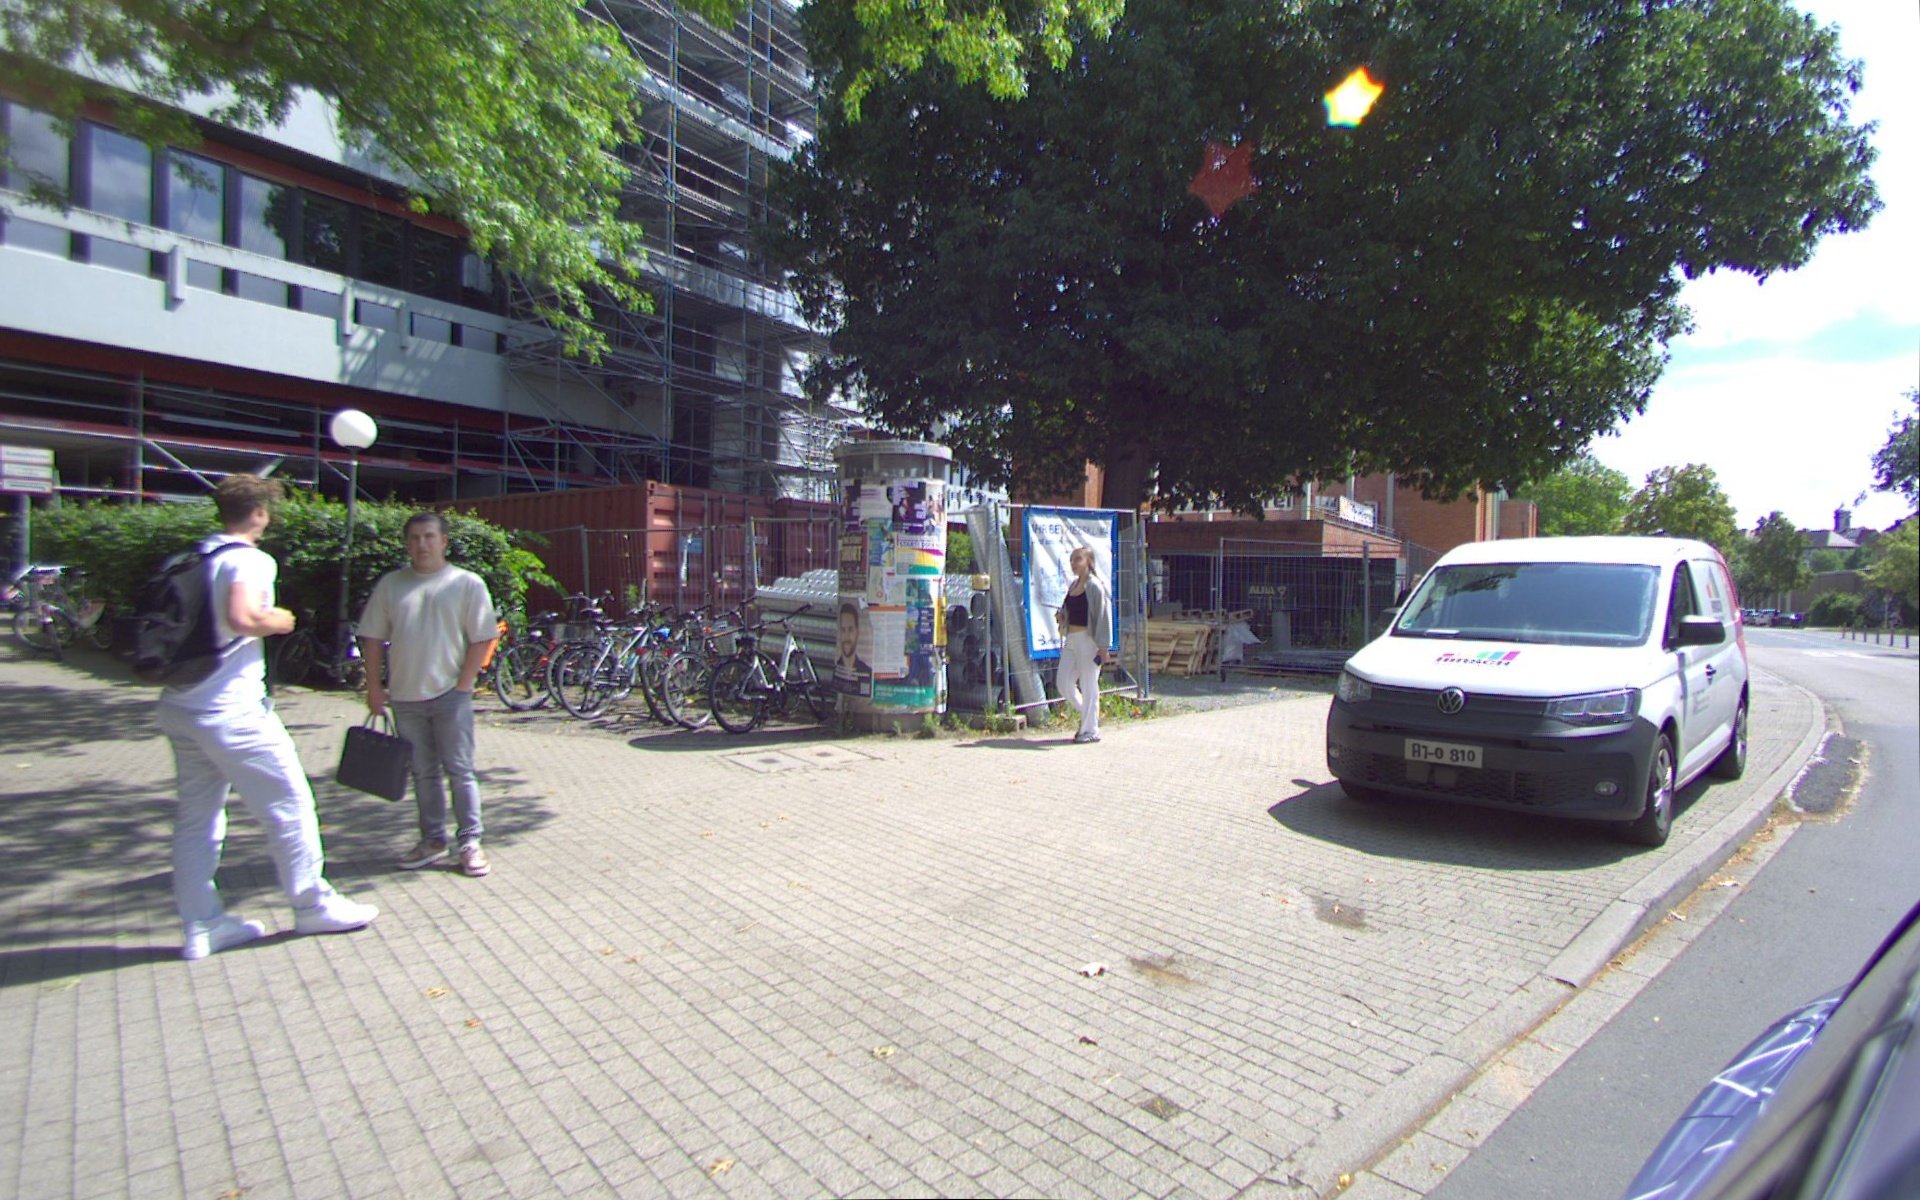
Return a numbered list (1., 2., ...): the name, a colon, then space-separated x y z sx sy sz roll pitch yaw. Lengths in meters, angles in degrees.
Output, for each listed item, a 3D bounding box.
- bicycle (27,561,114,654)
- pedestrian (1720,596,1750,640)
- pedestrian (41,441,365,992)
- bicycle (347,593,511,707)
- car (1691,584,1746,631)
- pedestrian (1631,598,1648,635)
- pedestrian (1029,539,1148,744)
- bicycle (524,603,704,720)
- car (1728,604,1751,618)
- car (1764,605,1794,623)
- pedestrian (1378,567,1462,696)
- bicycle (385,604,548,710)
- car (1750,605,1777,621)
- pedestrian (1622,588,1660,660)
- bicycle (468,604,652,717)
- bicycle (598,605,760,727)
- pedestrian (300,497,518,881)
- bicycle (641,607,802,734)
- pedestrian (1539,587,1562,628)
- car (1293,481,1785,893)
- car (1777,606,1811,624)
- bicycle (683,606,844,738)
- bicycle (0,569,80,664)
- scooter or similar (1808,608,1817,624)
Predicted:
1. bicycle: -11.914 0.069 13.533 1.861 1.132 0.493 3 2 37
2. pedestrian: 33.411 0.753 43.624 0.818 1.840 1.133 1 0 29
3. pedestrian: -2.731 0.389 3.718 0.710 1.844 0.630 1 0 -1
4. bicycle: -5.749 0.493 11.080 0.493 1.091 1.800 2 2 15
5. car: 44.766 0.413 59.845 2.050 2.575 5.782 2 1 32
6. pedestrian: 32.434 0.764 48.316 0.639 1.718 0.783 1 0 34
7. pedestrian: 1.083 0.330 8.628 0.697 1.652 0.716 1 0 -28
8. bicycle: -3.446 0.570 10.231 0.510 1.029 1.788 3 2 32
9. car: 91.983 1.281 119.452 1.921 1.654 4.318 1 1 35
10. car: 69.313 1.141 85.712 1.625 1.449 3.589 1 0 34
11. pedestrian: 6.050 0.395 13.313 0.969 1.620 0.669 1 1 -44
12. bicycle: -5.230 0.559 10.855 0.507 0.968 1.800 2 2 15
13. car: 77.116 1.215 97.191 1.708 1.451 3.950 1 1 35
14. pedestrian: 17.425 0.595 25.920 0.690 1.803 0.779 2 1 28
15. bicycle: -4.119 0.580 10.549 0.511 1.029 1.785 3 2 35
16. bicycle: -2.718 0.593 9.982 0.509 1.029 1.794 3 2 24
17. pedestrian: -2.624 0.400 4.875 0.731 1.731 0.564 1 0 -1
18. bicycle: -2.219 0.617 9.667 0.509 1.029 1.794 3 2 24
19. pedestrian: 27.264 0.346 46.748 0.839 1.857 1.185 1 0 29
20. car: 4.320 0.383 7.091 1.849 1.915 4.812 2 1 44
21. car: 66.028 1.171 80.165 1.691 1.311 3.715 2 1 35
22. bicycle: -1.750 0.604 9.316 0.509 1.029 1.794 3 2 24
23. bicycle: -11.389 0.168 12.436 1.862 1.039 0.493 3 2 37
24. scooter or similar: 64.506 1.203 76.590 0.469 1.231 1.187 1 0 39
